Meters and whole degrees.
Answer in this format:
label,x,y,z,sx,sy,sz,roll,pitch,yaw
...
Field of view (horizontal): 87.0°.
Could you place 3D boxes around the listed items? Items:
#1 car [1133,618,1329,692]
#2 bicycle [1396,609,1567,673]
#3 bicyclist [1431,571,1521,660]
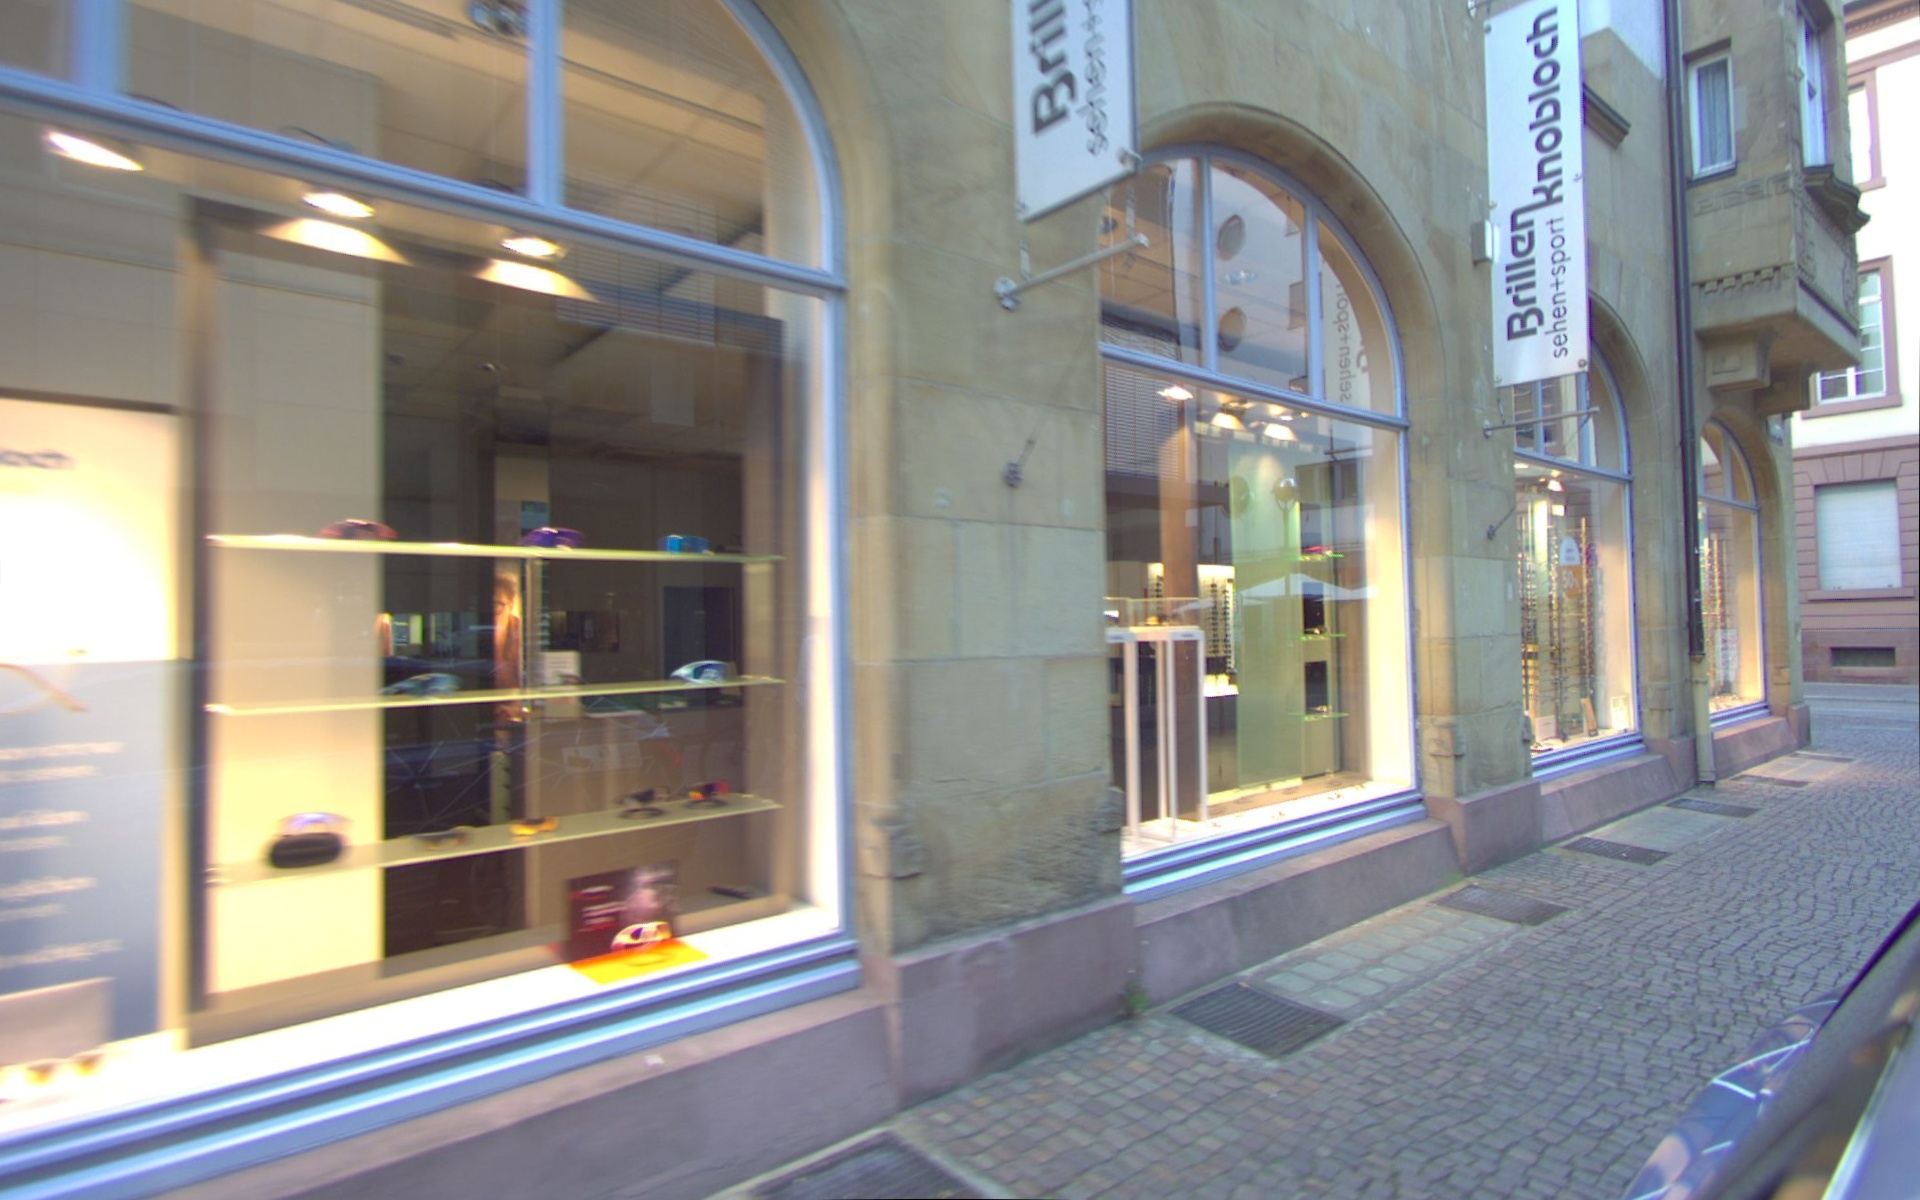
label,x,y,z,sx,sy,sz,roll,pitch,yaw
car,5.872,1.159,22.302,1.620,1.461,3.996,0,-2,-38
bicycle,11.131,0.860,21.749,0.907,1.276,3.151,1,-2,-41
bicyclist,11.106,0.338,21.794,0.907,1.841,1.467,1,-2,-41
